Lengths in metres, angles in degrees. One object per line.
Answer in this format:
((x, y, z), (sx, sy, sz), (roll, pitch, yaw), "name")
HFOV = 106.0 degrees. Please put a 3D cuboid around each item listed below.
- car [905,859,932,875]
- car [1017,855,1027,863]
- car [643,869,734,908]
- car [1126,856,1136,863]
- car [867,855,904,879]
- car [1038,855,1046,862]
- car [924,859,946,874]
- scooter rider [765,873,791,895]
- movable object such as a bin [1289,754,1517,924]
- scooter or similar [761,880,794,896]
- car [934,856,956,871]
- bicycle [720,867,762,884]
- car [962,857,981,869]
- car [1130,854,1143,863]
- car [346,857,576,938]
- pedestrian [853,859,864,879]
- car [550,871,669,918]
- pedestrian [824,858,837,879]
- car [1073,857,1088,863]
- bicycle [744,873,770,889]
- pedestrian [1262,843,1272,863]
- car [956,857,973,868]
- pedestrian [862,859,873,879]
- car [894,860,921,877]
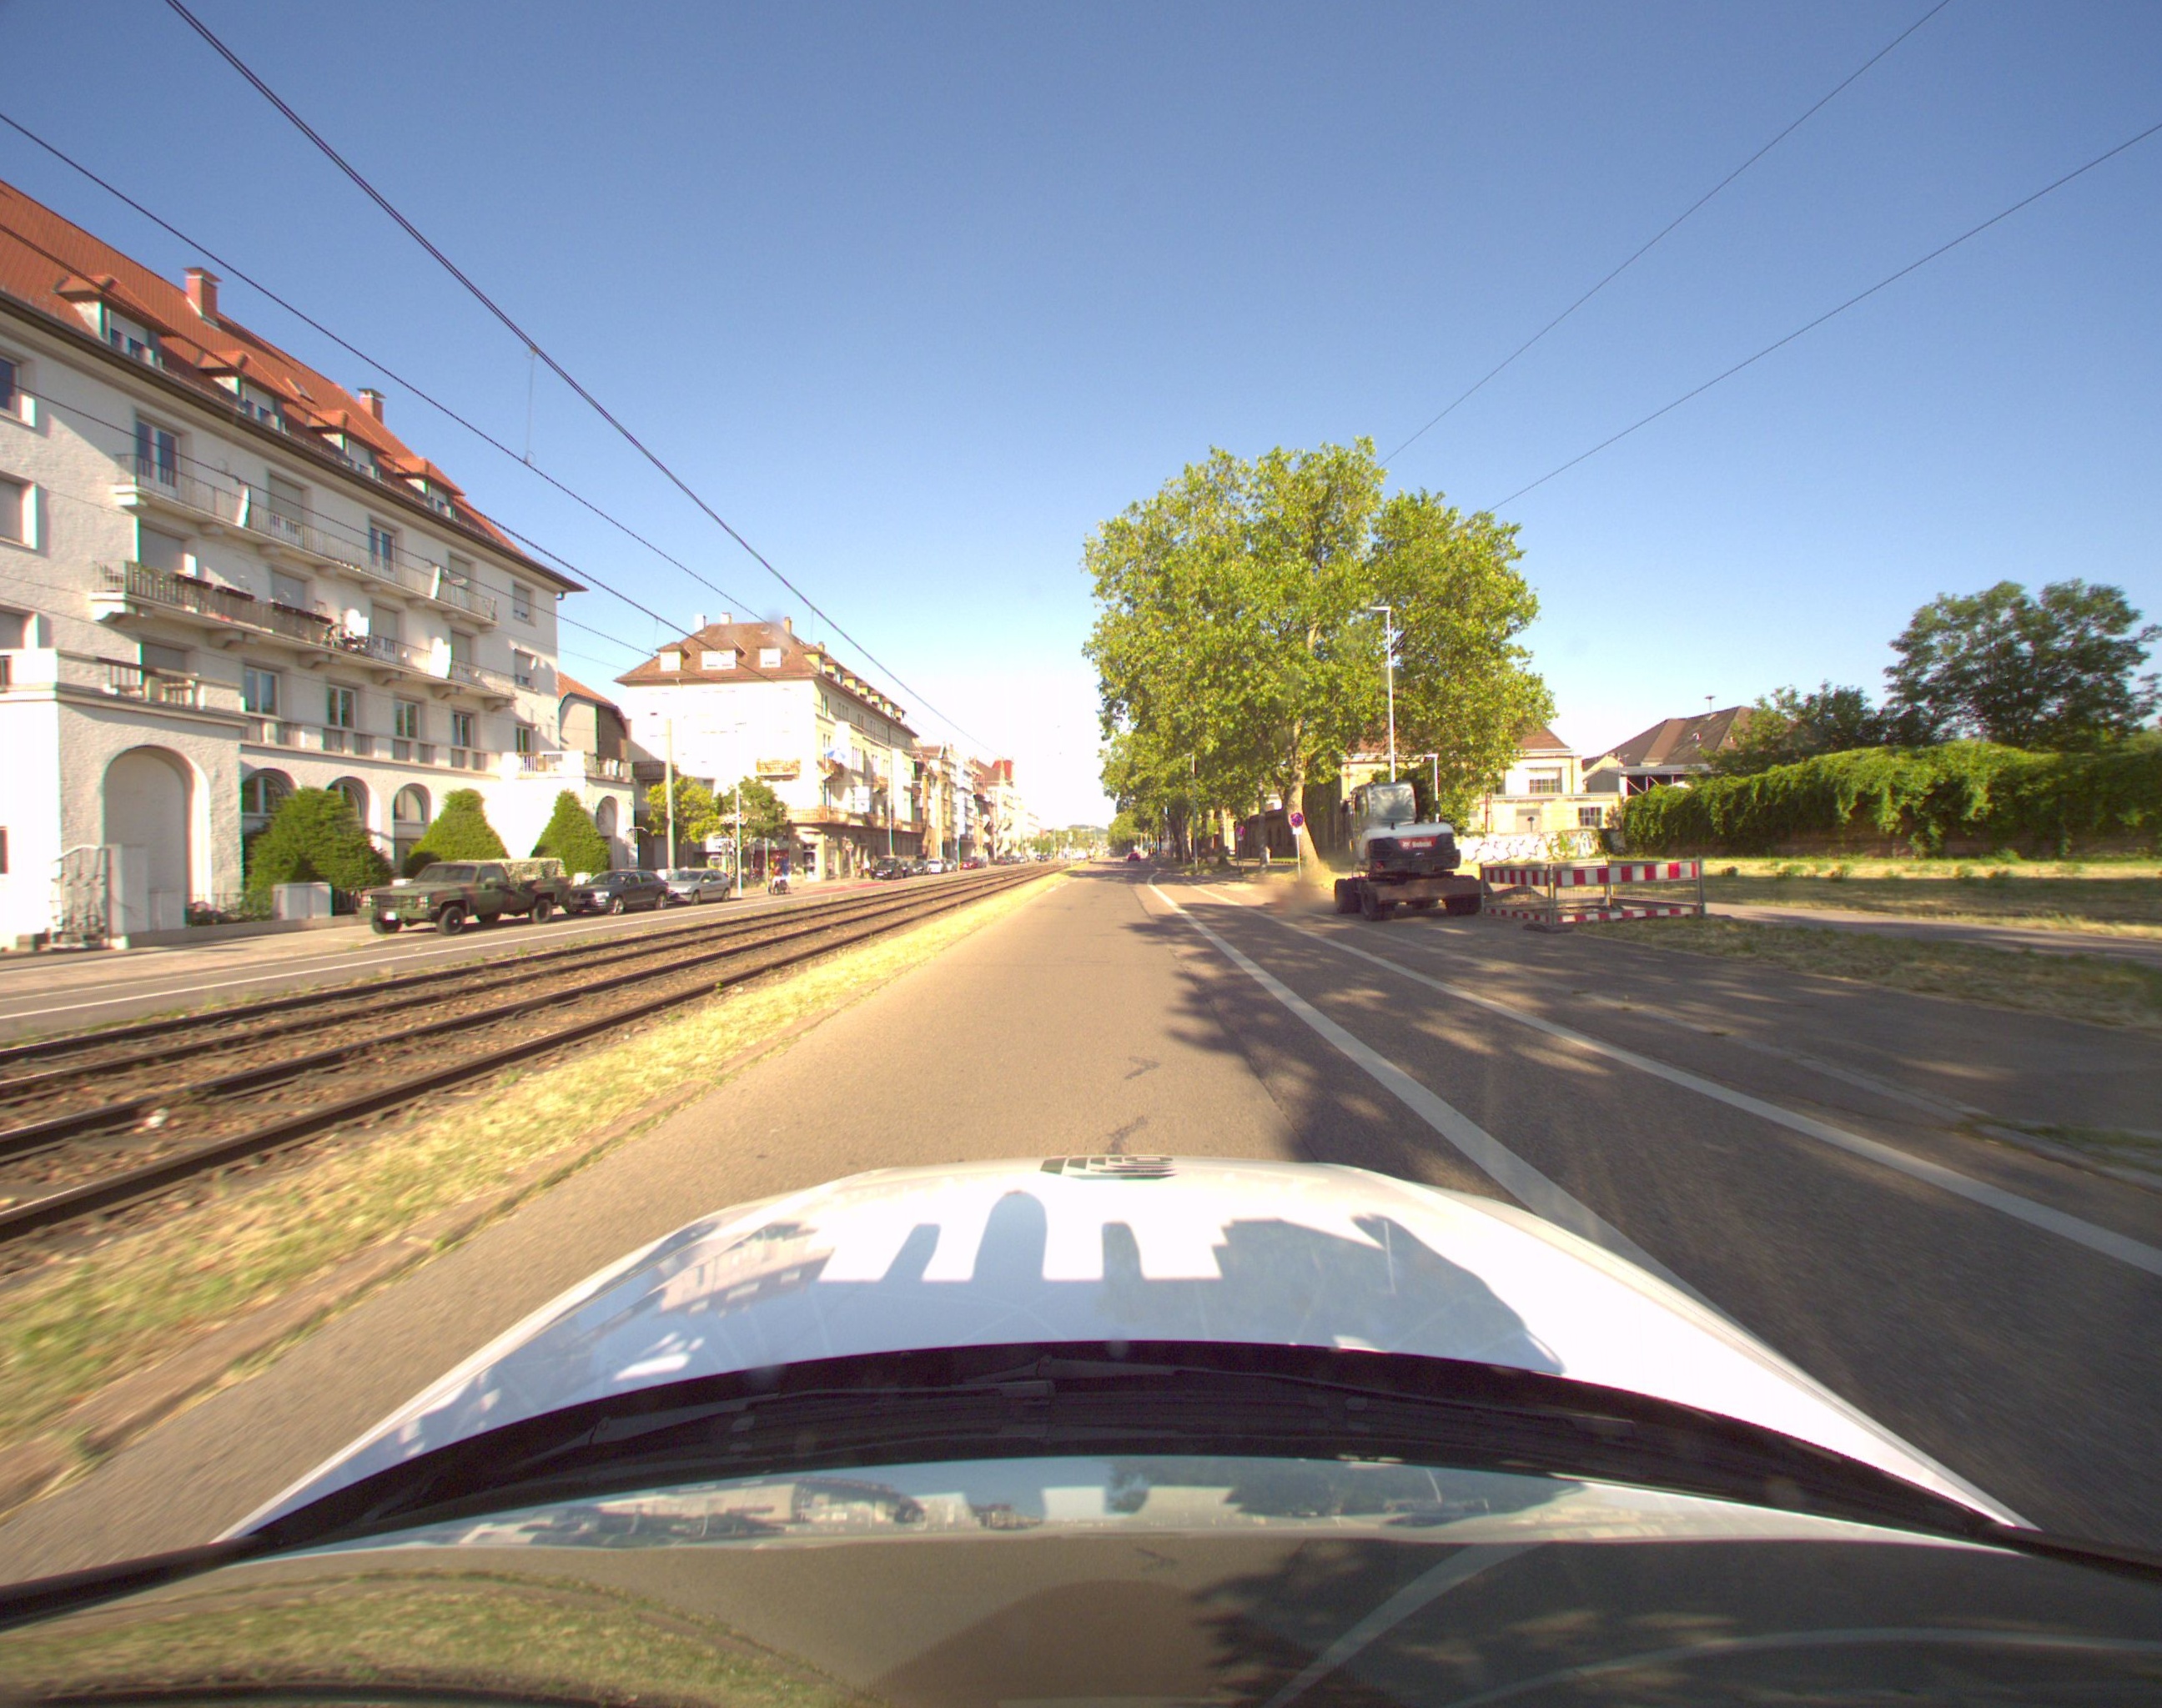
((-15.518, 1.233, 77.917), (1.629, 1.469, 4.160), (1, 0, 1), "car")
((-12.431, 1.004, 171.360), (1.790, 1.510, 3.996), (2, 0, -3), "car")
((-16.726, 1.442, 34.943), (1.787, 1.510, 4.003), (0, 0, 3), "car")
((9.994, 1.116, 162.702), (1.827, 1.391, 4.160), (-1, 0, 1), "car")
((-15.870, 1.019, 66.374), (1.856, 1.786, 4.402), (0, 1, 1), "car")
((-9.203, 1.034, 192.435), (1.630, 1.601, 4.158), (-3, 0, 0), "car")
((-14.896, 1.279, 83.304), (1.631, 1.469, 3.978), (2, -2, -3), "car")
((-15.677, 1.557, 42.140), (0.966, 1.089, 0.813), (-2, 0, 33), "scooter rider")
((7.272, -0.319, 19.676), (2.733, 3.145, 7.225), (-5, 0, 3), "movable object such as a bin")
((-15.705, 1.747, 42.159), (1.549, 0.770, 0.813), (-2, 0, 33), "scooter or similar")
((-15.375, 1.079, 92.051), (1.629, 1.469, 4.160), (0, -3, 2), "car")
((-25.391, 1.570, 60.770), (2.865, 1.161, 0.754), (-2, 0, 8), "bicycle")
((-14.718, 1.215, 109.774), (1.826, 1.558, 4.356), (0, 0, 3), "car")
((8.444, 0.684, 124.082), (1.827, 1.391, 4.160), (-1, 0, 1), "car")
((-17.463, 1.121, 23.445), (2.068, 2.010, 5.597), (0, 0, 4), "car")
((-18.757, 1.240, 68.586), (0.586, 1.697, 0.858), (0, -1, 4), "pedestrian")
((-16.806, 1.400, 29.307), (1.628, 1.507, 4.163), (0, -1, 4), "car")
((-20.274, 1.144, 65.889), (0.637, 1.661, 0.955), (0, -1, 4), "pedestrian")
((-0.160, 1.661, 216.168), (1.809, 1.510, 3.954), (1, -1, -39), "car")
((-22.140, 1.828, 55.681), (0.681, 1.016, 2.415), (0, 0, 4), "bicycle")
((16.725, -0.075, 73.143), (0.606, 1.681, 0.636), (-6, 0, 0), "pedestrian")
((-14.798, 1.049, 103.668), (1.829, 1.391, 4.031), (1, 0, -3), "car")
((-18.003, 1.243, 68.631), (0.586, 1.697, 0.858), (0, -1, 4), "pedestrian")
((-15.415, 1.252, 72.417), (1.622, 1.391, 3.509), (2, 0, 1), "car")
